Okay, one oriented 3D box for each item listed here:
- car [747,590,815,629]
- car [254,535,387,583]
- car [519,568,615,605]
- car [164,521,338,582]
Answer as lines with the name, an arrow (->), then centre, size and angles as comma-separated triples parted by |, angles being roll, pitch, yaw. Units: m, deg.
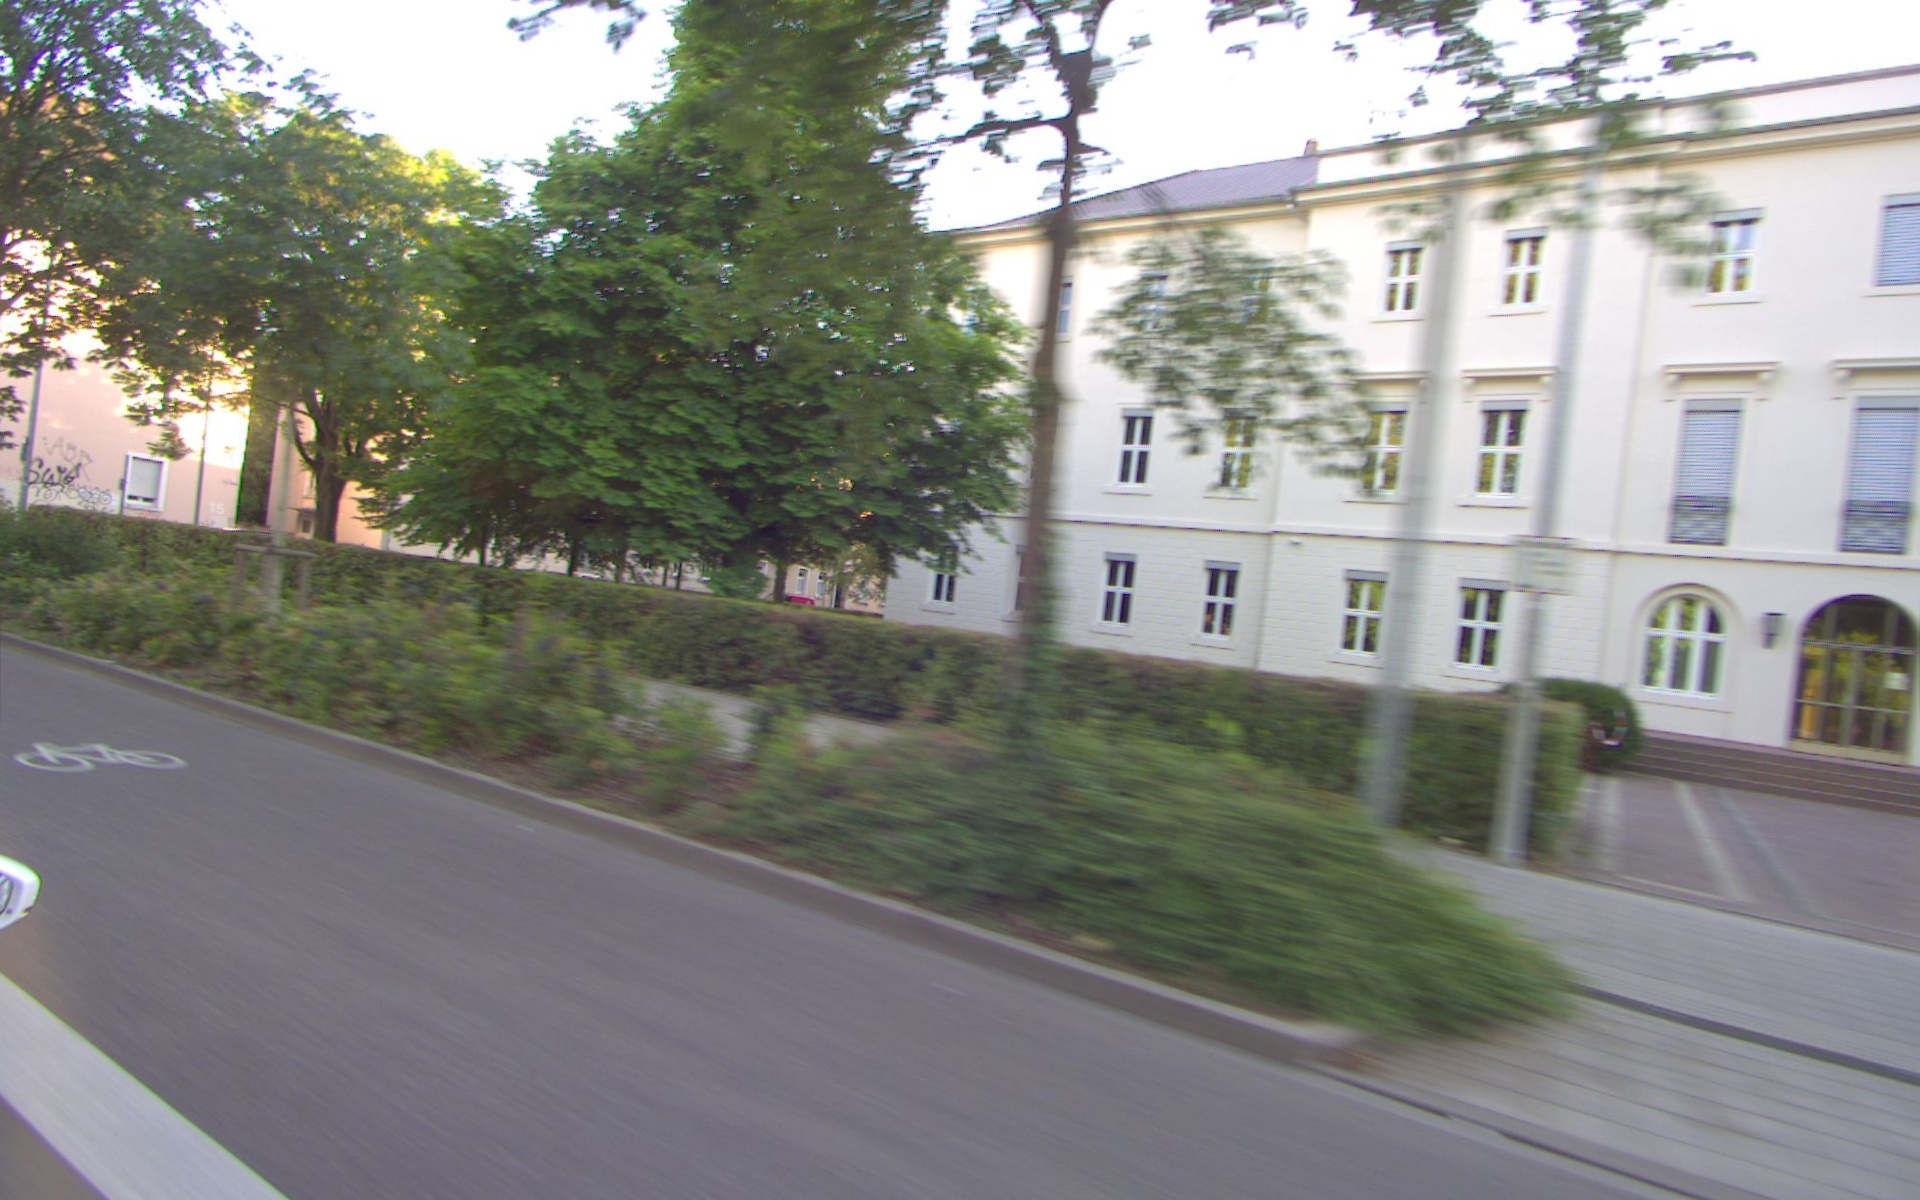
car -> -11.765, 0.637, 66.265 | 1.841, 2.166, 4.242 | 7, 1, 34
car -> -26.546, -1.696, 41.908 | 1.841, 1.500, 4.242 | 7, 1, 34
car -> -20.286, -0.665, 52.046 | 1.841, 1.500, 4.242 | 7, 1, 34
car -> -23.271, -1.556, 33.176 | 1.840, 1.500, 4.244 | 6, 0, 32
